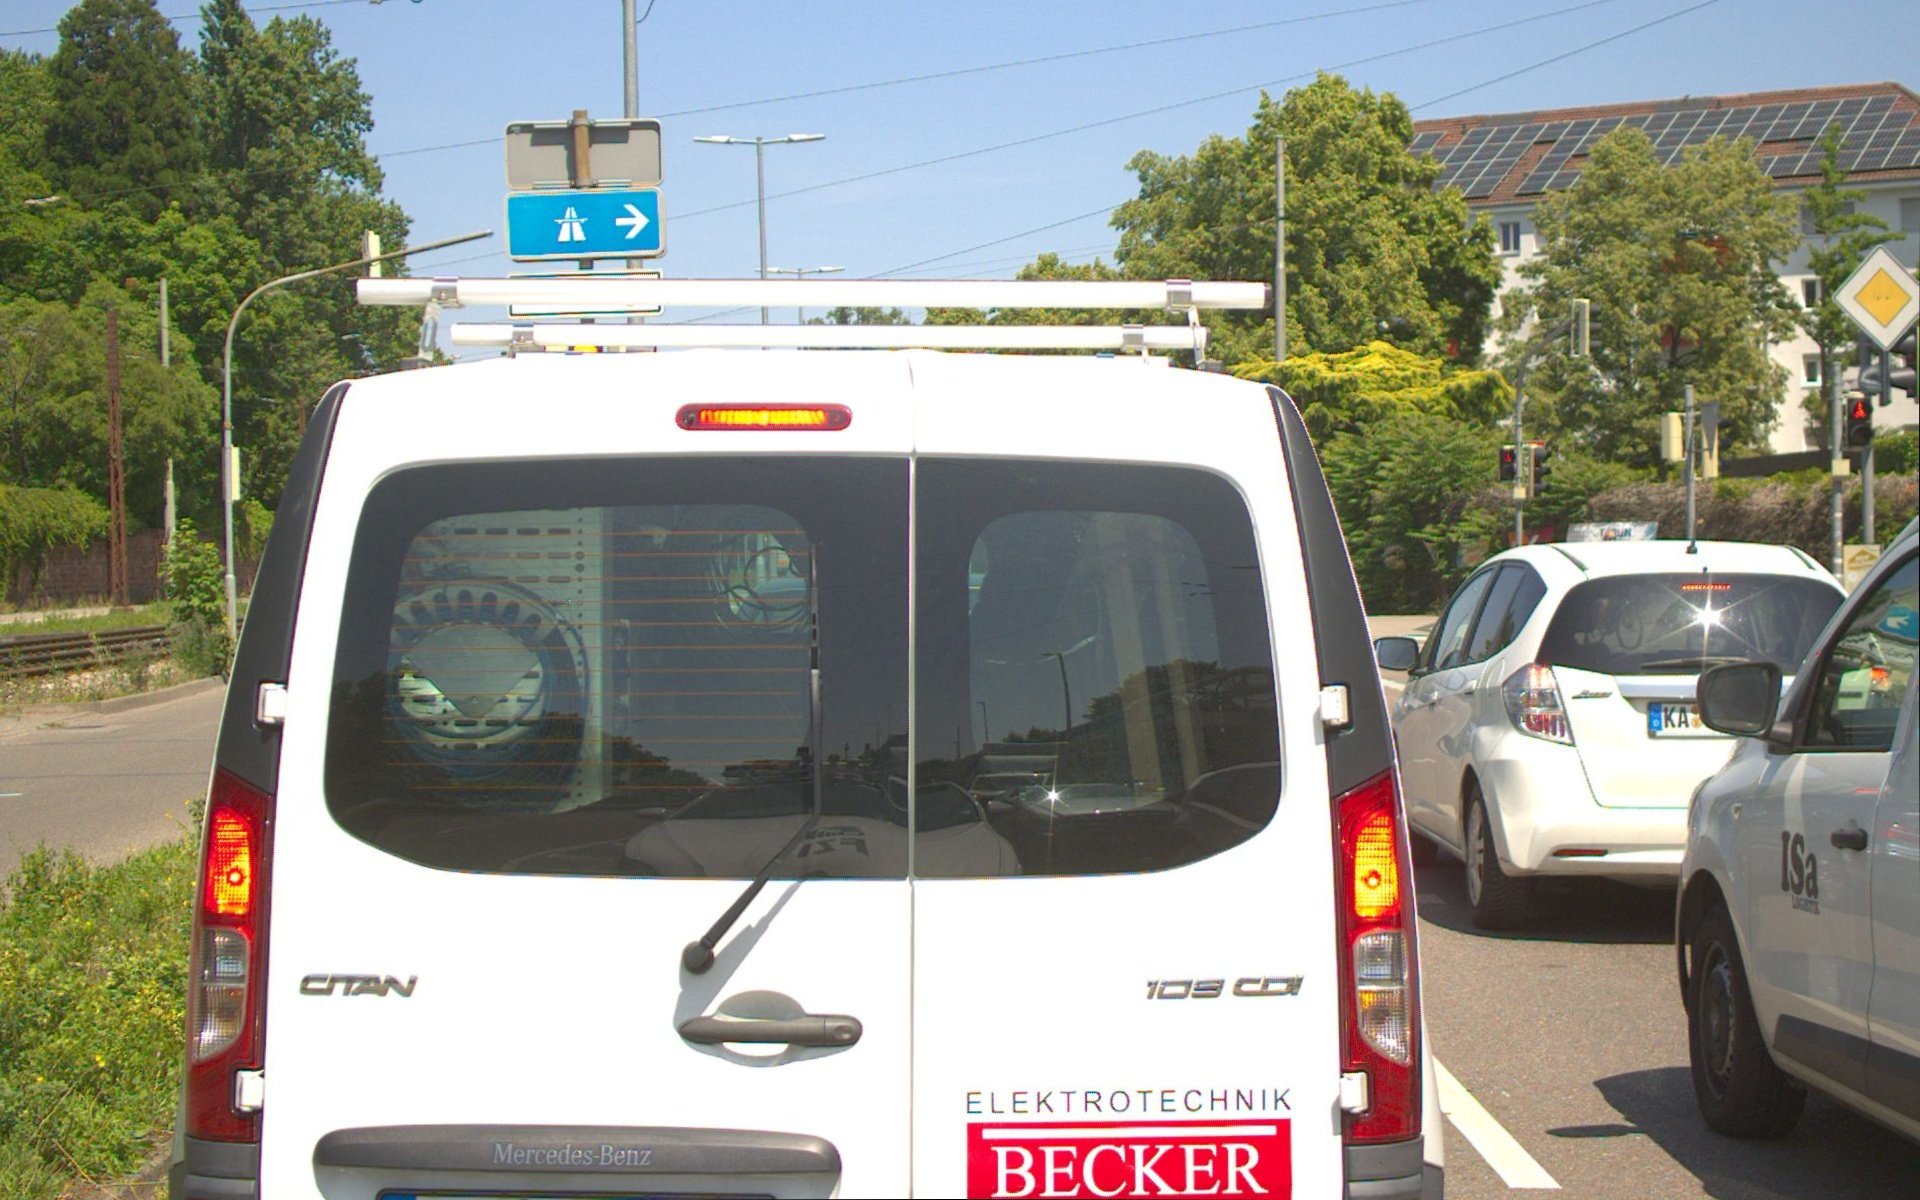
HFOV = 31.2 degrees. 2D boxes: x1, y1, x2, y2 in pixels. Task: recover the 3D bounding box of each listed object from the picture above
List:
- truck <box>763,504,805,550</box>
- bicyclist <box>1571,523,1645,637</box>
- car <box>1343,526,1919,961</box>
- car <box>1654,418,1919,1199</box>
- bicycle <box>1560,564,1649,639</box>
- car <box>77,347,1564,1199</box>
[{"bbox_3d":[-10.171,-4.233,199.299,2.139,2.579,5.890,1,1,-1],"label":"truck"},{"bbox_3d":[10.268,-0.319,54.486,0.973,1.782,0.726,0,0,-5],"label":"bicyclist"},{"bbox_3d":[2.804,0.489,14.653,1.835,1.563,4.000,1,1,-1],"label":"car"},{"bbox_3d":[2.801,0.528,7.244,1.727,1.782,4.065,1,1,-2],"label":"car"},{"bbox_3d":[10.224,0.016,54.584,0.892,1.155,1.956,0,1,-5],"label":"bicycle"},{"bbox_3d":[-0.198,0.533,6.427,1.821,1.734,4.396,0,1,-1],"label":"car"}]
